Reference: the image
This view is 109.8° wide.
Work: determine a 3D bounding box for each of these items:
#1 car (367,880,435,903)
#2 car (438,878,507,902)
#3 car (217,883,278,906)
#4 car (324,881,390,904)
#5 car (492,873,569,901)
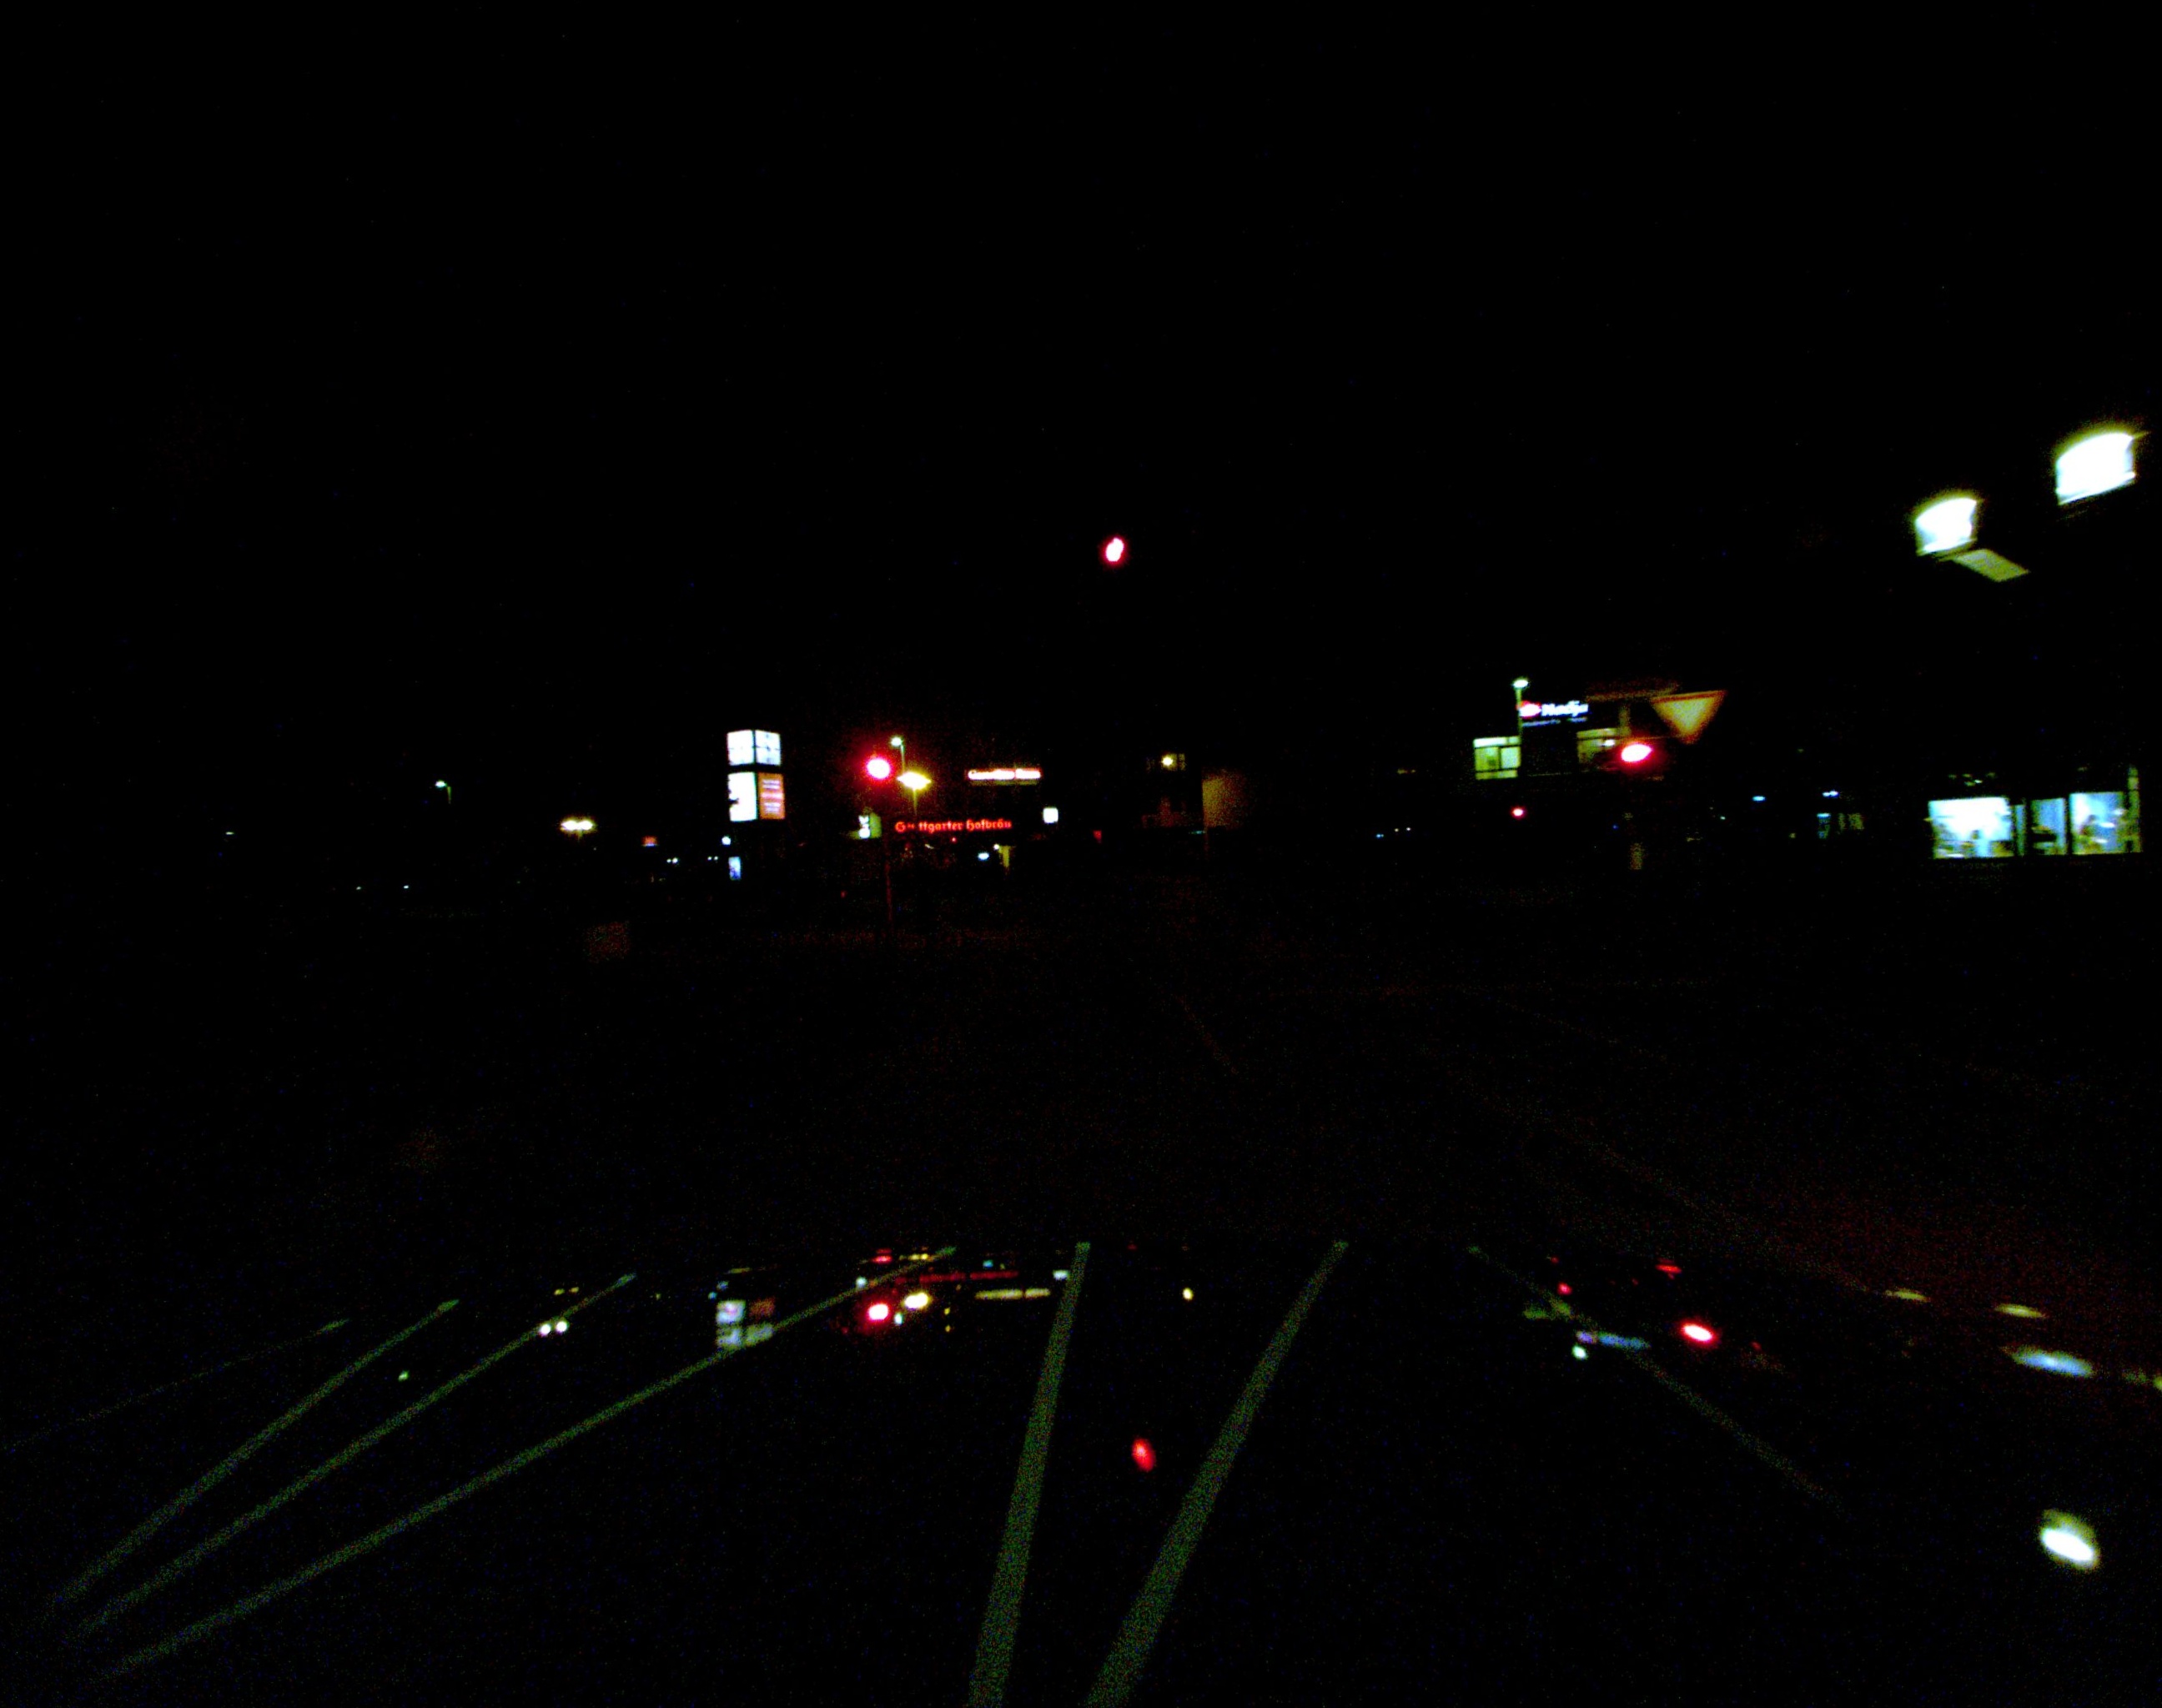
[{"bbox_3d":[-46.306,2.560,51.746,3.886,1.444,1.898,-2,-1,22],"label":"car"},{"bbox_3d":[-39.371,2.354,49.152,3.886,1.444,1.898,-2,-1,24],"label":"car"},{"bbox_3d":[-63.532,3.066,57.911,3.886,1.616,2.017,-2,-1,24],"label":"car"},{"bbox_3d":[-50.923,2.712,53.444,3.886,1.444,1.898,-2,-1,22],"label":"car"},{"bbox_3d":[-34.412,2.058,47.541,3.856,1.643,1.877,-2,-1,15],"label":"car"}]
